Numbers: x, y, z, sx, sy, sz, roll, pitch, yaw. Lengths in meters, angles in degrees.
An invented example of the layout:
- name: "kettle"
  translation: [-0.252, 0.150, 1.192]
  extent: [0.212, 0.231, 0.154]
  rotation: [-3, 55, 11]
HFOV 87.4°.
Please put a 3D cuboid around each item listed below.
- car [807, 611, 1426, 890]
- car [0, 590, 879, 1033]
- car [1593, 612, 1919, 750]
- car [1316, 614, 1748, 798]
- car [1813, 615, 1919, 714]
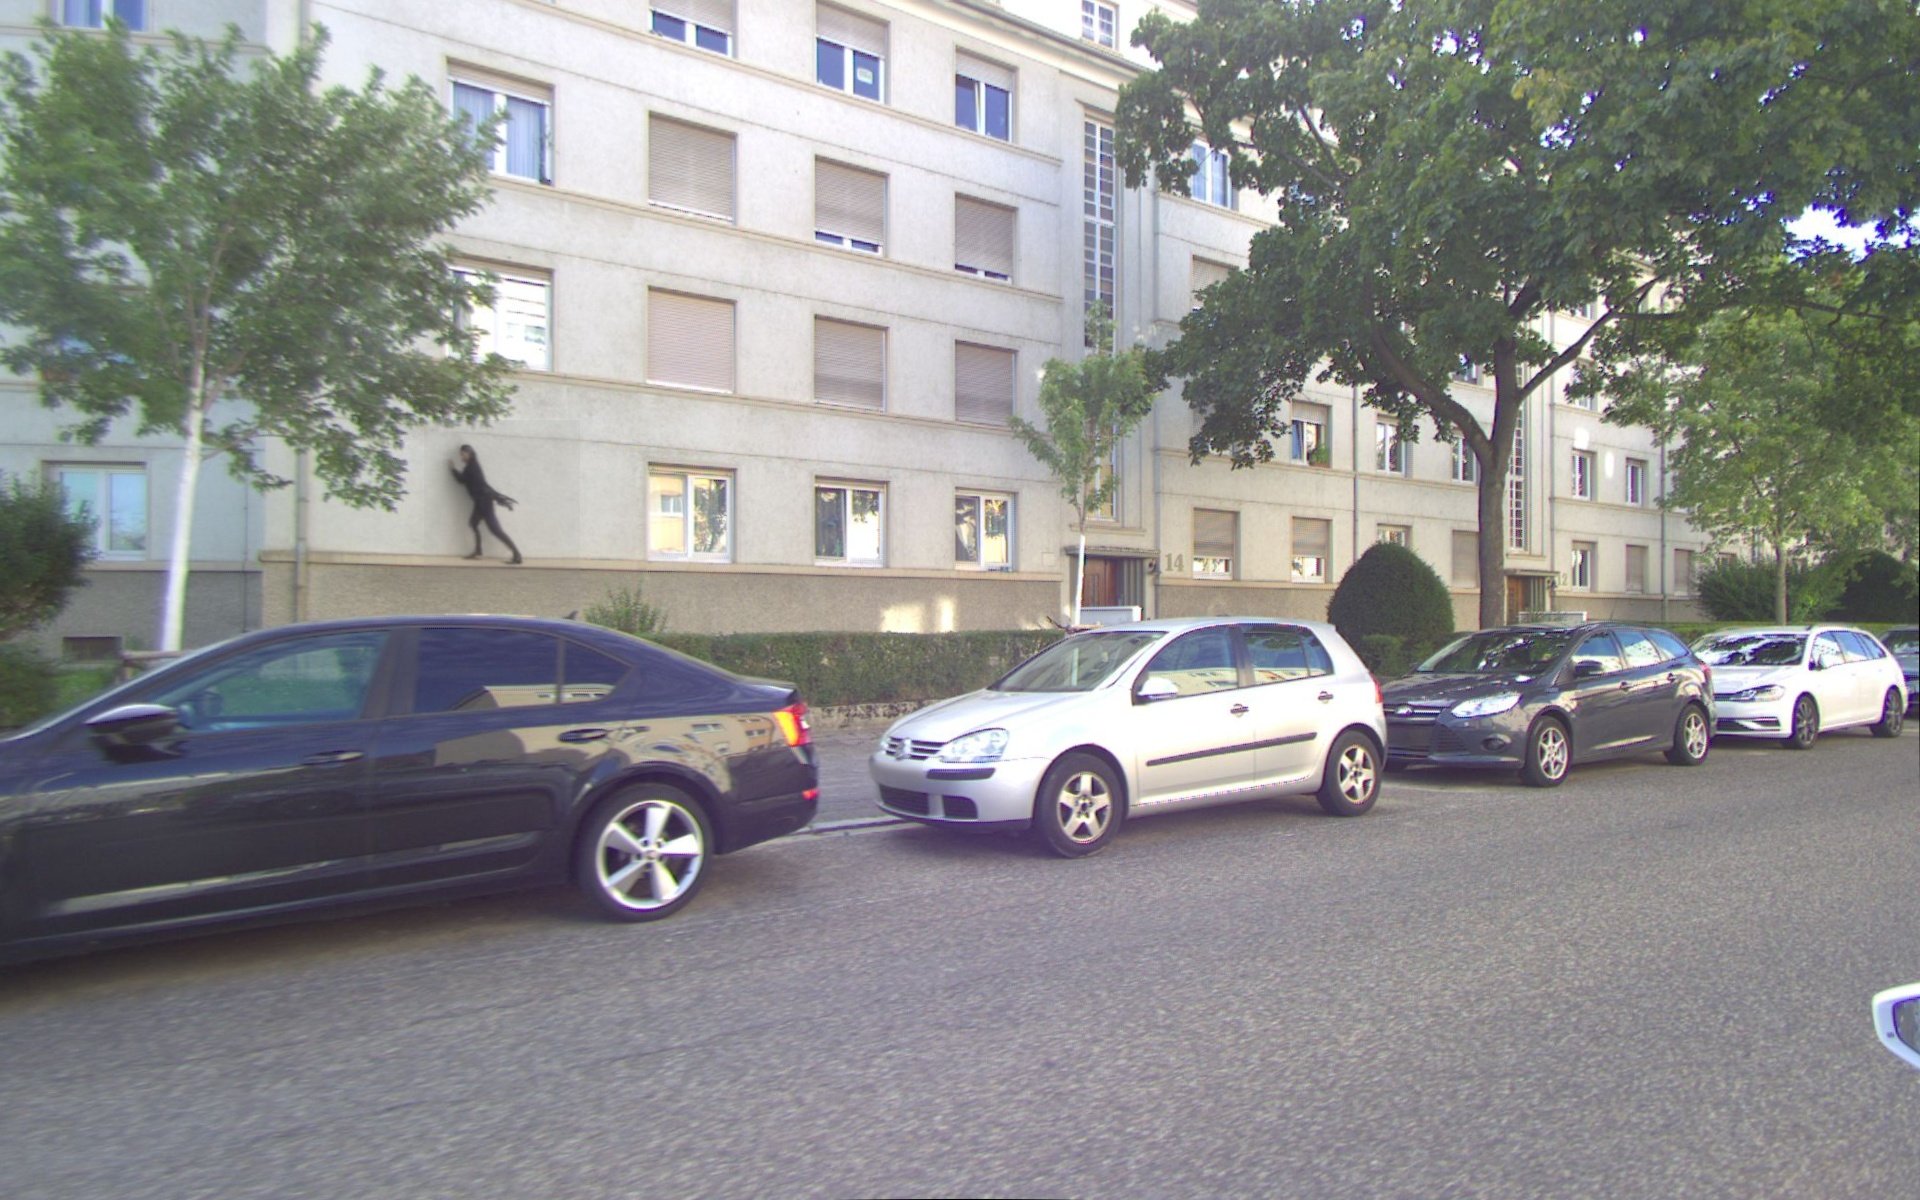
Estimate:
- name: "car"
  translation: [1.238, 0.875, 7.352]
  extent: [4.318, 1.505, 1.812]
  rotation: [0, -3, -31]
- name: "car"
  translation: [-2.776, 0.775, 4.908]
  extent: [4.373, 1.505, 1.917]
  rotation: [1, -3, -33]
- name: "car"
  translation: [10.474, 0.972, 13.043]
  extent: [4.744, 1.505, 1.847]
  rotation: [0, -4, -32]
- name: "car"
  translation: [5.932, 0.907, 10.263]
  extent: [4.630, 1.506, 1.846]
  rotation: [0, -1, -32]
- name: "car"
  translation: [16.404, 1.018, 16.914]
  extent: [4.633, 1.505, 1.845]
  rotation: [1, -2, -33]
